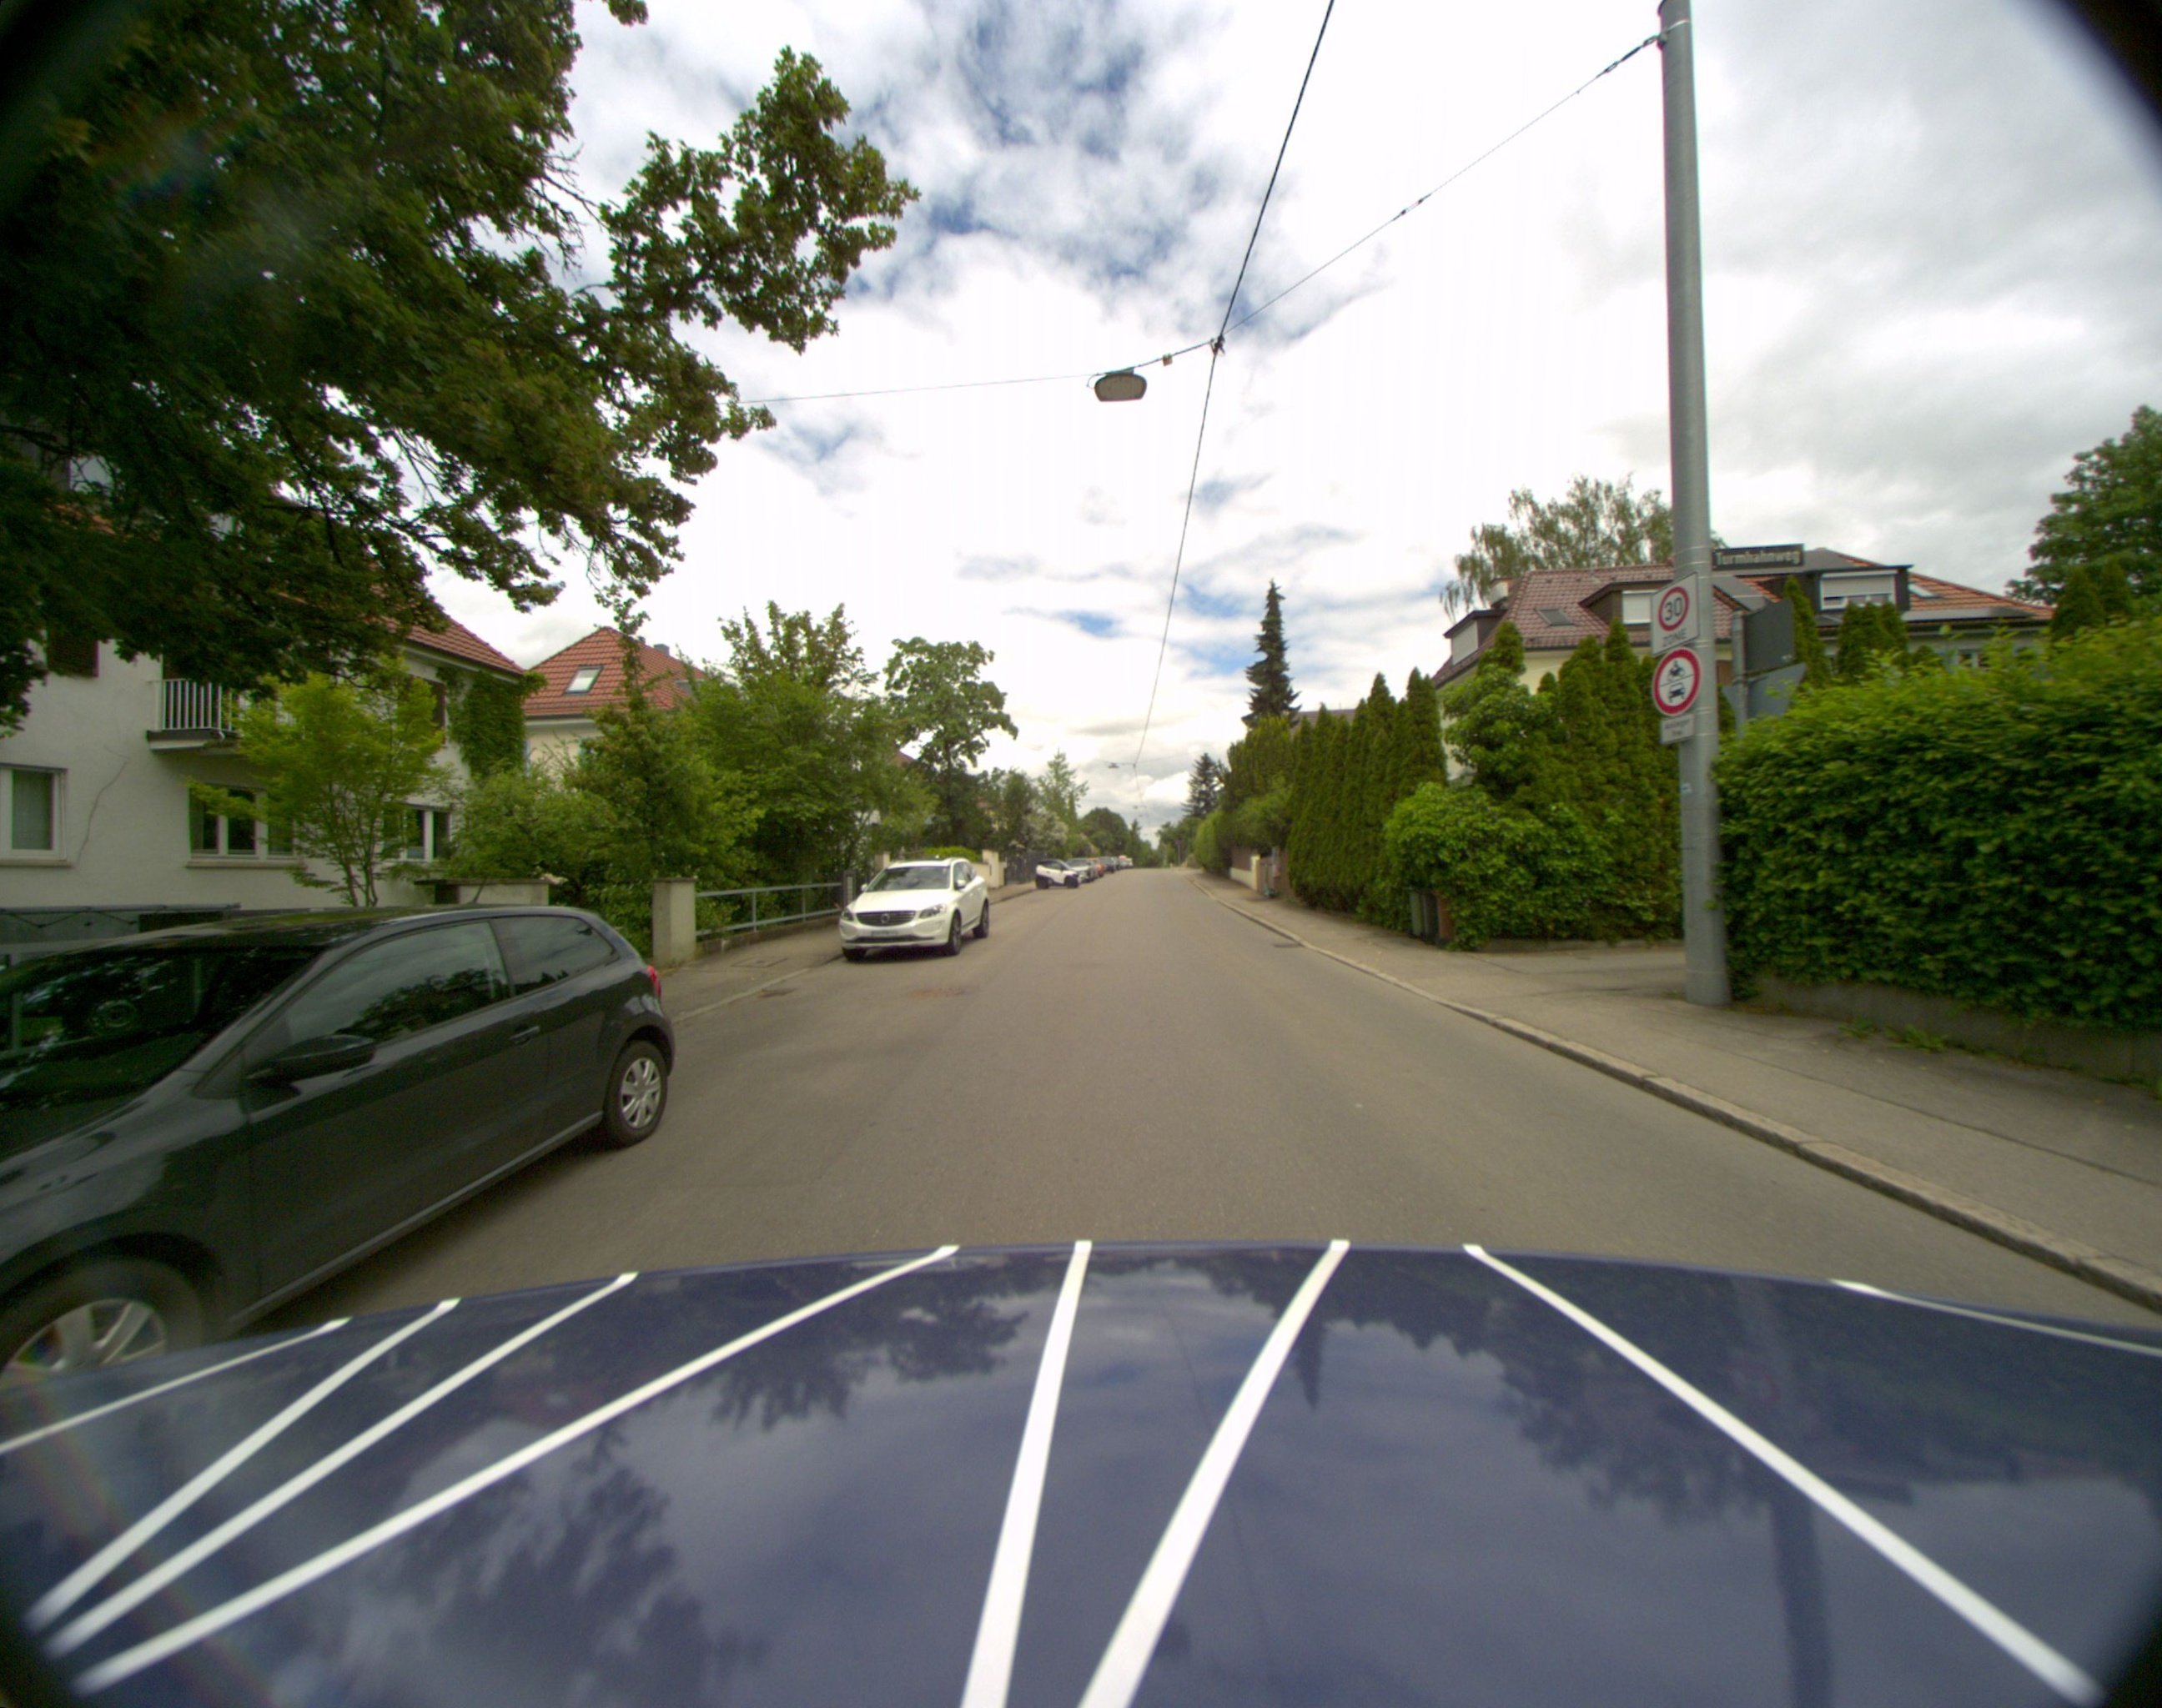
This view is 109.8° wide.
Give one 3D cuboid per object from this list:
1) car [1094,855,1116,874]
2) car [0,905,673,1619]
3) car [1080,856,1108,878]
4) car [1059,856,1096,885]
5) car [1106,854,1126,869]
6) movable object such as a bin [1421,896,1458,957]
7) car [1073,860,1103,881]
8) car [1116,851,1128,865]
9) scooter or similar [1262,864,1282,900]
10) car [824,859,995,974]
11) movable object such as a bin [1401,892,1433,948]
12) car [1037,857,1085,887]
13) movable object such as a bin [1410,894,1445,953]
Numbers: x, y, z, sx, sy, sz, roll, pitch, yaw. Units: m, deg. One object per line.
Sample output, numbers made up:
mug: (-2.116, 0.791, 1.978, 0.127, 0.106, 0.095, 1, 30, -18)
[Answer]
car: (2.392, 1.022, 74.423, 1.954, 1.617, 4.377, -3, 0, 3)
car: (-3.415, 1.092, 2.778, 1.714, 1.479, 3.790, -2, 0, 1)
car: (1.074, 1.018, 61.138, 1.854, 1.617, 4.171, -3, 0, 5)
car: (-0.199, 1.013, 48.351, 1.833, 1.614, 4.493, -2, 0, 6)
car: (3.952, 0.797, 84.783, 1.804, 1.582, 4.143, -2, 0, 7)
movable object such as a bin: (5.566, 1.120, 11.803, 0.337, 0.888, 0.476, -3, 0, 6)
car: (0.544, 1.155, 54.724, 1.720, 1.374, 4.237, -2, 0, 6)
car: (7.293, 0.720, 134.548, 1.853, 2.210, 5.370, -4, -1, 4)
scooter or similar: (6.477, 0.924, 25.821, 0.392, 1.164, 1.270, -2, 0, 4)
car: (-2.906, 0.986, 13.940, 1.869, 1.675, 4.351, -2, 0, 3)
movable object such as a bin: (5.672, 1.108, 12.837, 0.337, 0.888, 0.476, -3, 0, 6)
car: (-1.042, 0.967, 40.215, 2.291, 1.515, 1.319, -1, 0, 10)
movable object such as a bin: (5.606, 1.120, 12.312, 0.337, 0.888, 0.476, -3, 0, 6)
